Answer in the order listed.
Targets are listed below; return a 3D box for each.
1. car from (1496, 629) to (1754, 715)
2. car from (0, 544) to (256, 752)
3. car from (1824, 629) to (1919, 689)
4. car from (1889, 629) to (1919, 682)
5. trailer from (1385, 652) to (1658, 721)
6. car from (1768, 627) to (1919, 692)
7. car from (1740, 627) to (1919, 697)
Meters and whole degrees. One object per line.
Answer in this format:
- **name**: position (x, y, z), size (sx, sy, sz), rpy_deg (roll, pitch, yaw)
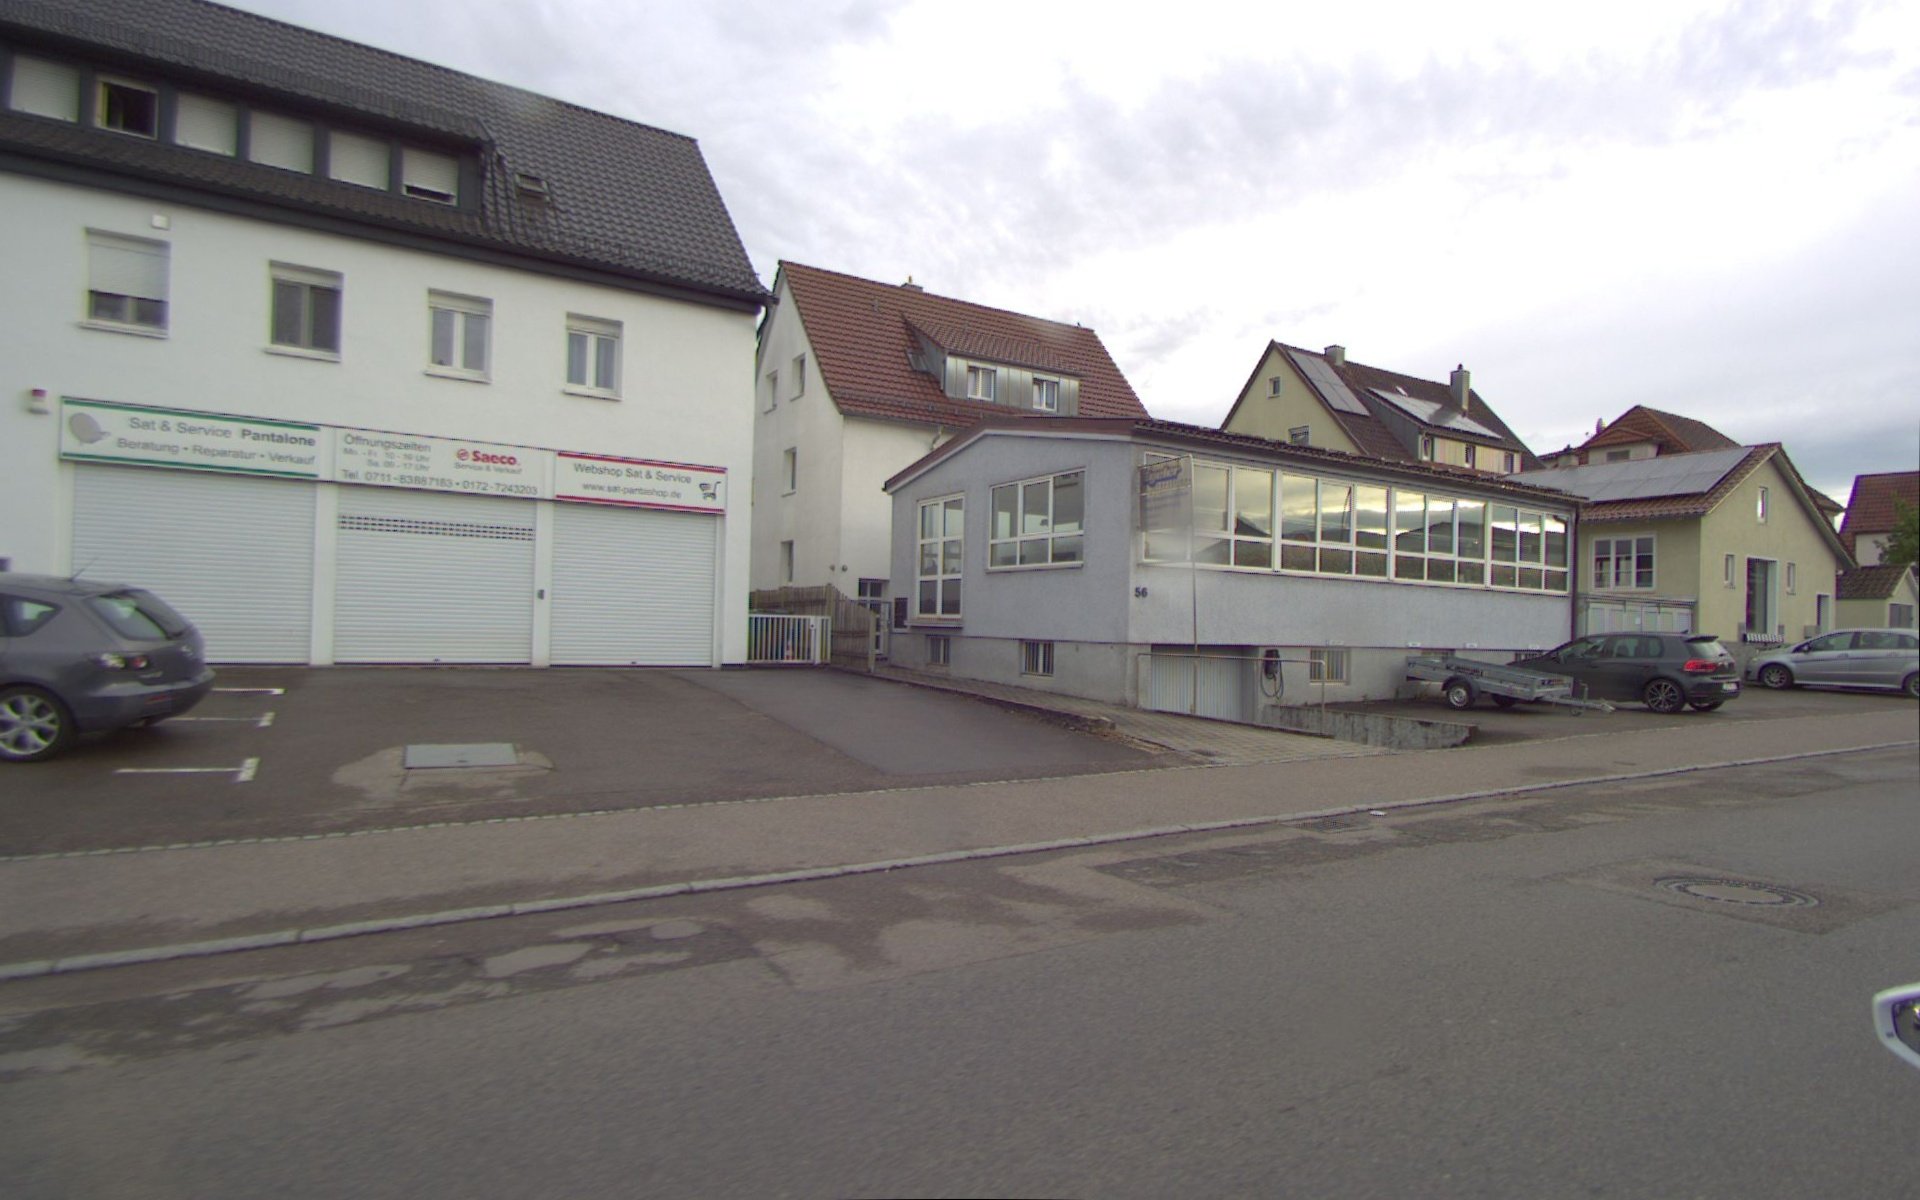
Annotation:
- **car**: position (12.849, 1.321, 19.638), size (1.747, 1.457, 3.855), rpy_deg (1, -1, -30)
- **car**: position (-8.704, 0.325, 8.617), size (3.934, 1.550, 1.819), rpy_deg (3, 4, -15)
- **car**: position (25.784, 1.579, 26.662), size (1.739, 1.523, 4.057), rpy_deg (1, -1, -35)
- **car**: position (29.181, 1.623, 28.346), size (1.864, 1.534, 4.057), rpy_deg (1, -1, -35)
- **trailer**: position (10.351, 1.545, 18.834), size (1.774, 0.955, 4.174), rpy_deg (1, -1, -31)
- **car**: position (23.829, 1.520, 26.114), size (1.794, 1.553, 4.060), rpy_deg (1, -1, -33)
- **car**: position (22.029, 1.472, 24.760), size (1.980, 1.553, 4.057), rpy_deg (1, -1, -35)
